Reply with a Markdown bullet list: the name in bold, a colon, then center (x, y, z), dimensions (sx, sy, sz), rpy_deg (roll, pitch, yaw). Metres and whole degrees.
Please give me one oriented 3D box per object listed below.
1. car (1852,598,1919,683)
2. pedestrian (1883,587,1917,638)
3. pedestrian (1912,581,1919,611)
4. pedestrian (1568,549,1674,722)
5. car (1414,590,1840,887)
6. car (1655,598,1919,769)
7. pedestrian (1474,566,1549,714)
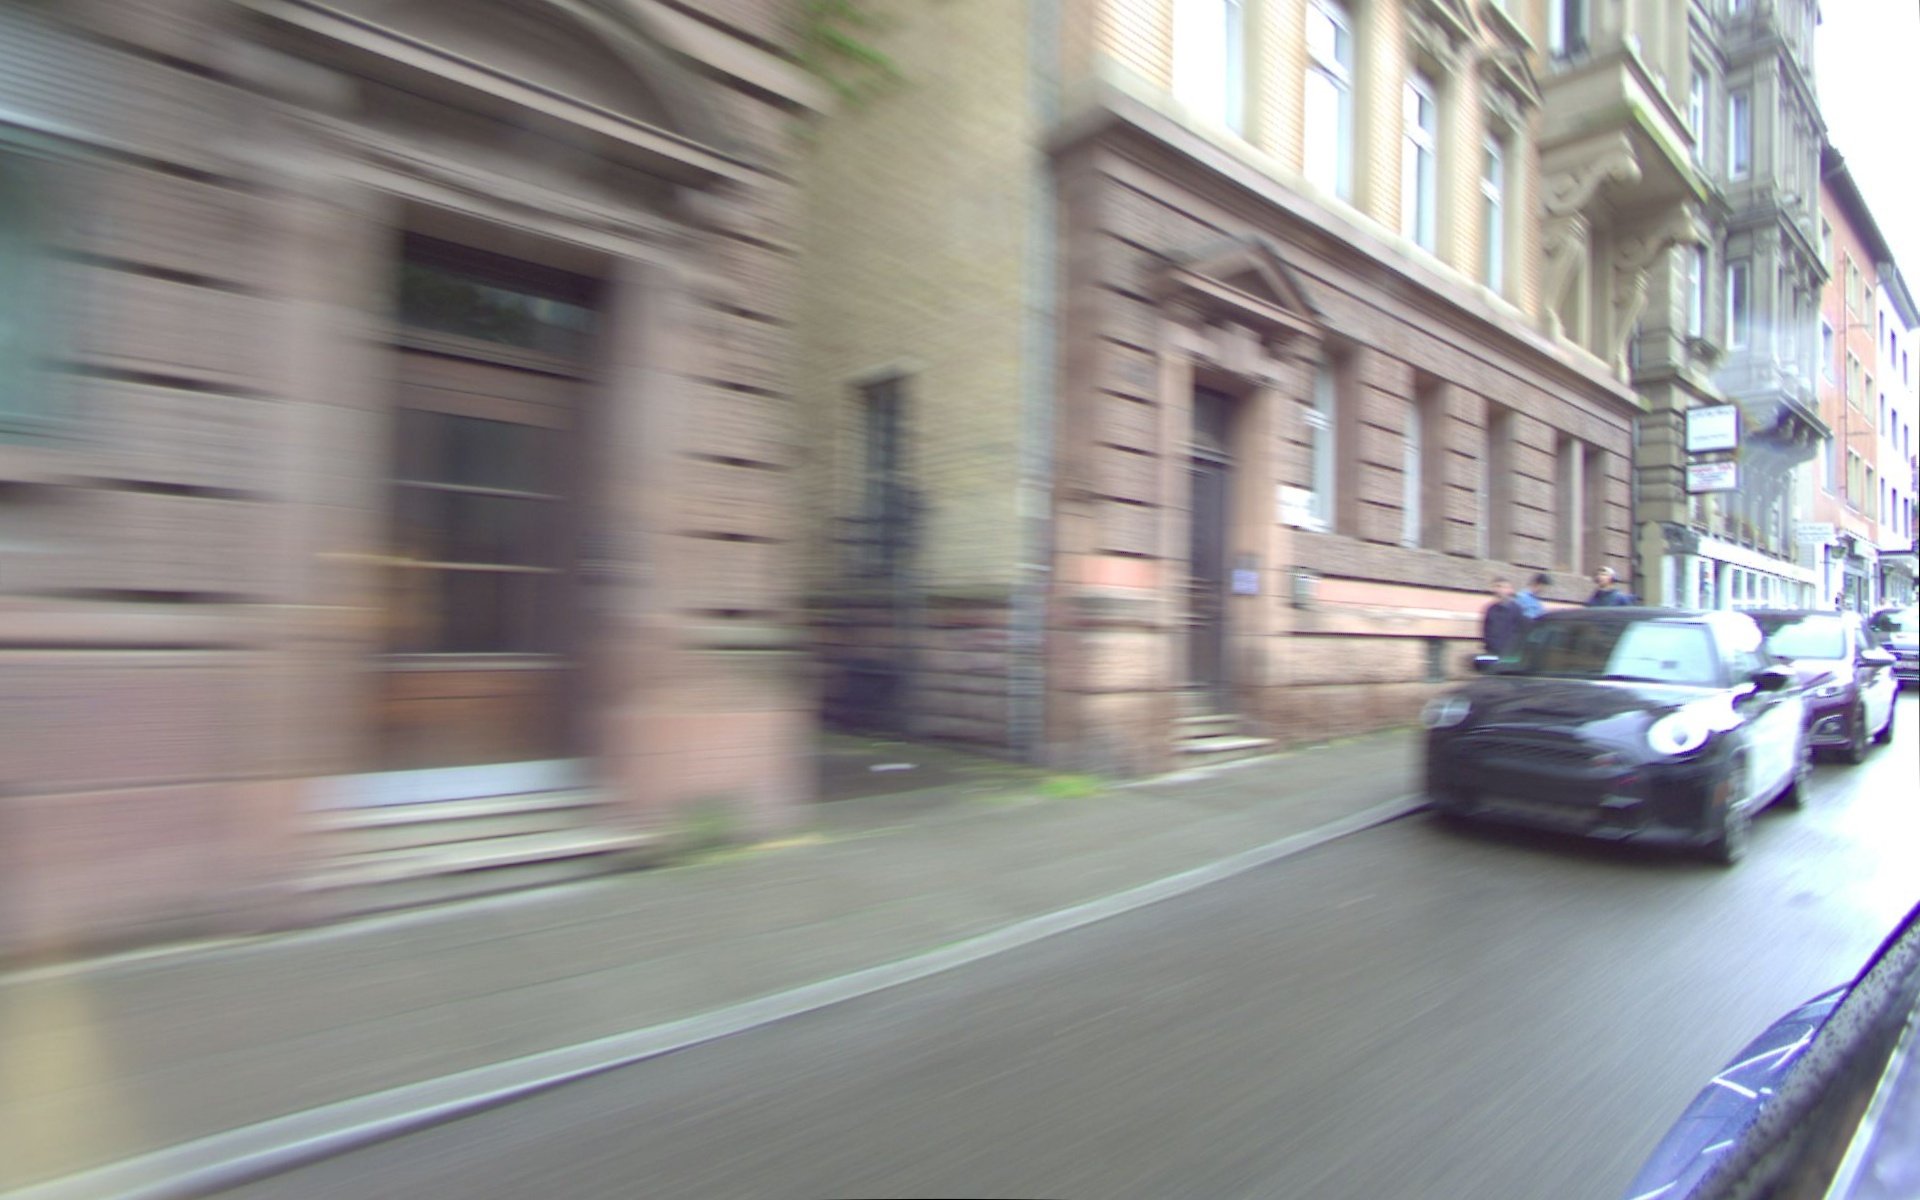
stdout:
- **car**: center (17.774, 0.738, 18.347), dimensions (4.181, 1.424, 1.795), rpy_deg (2, 0, -40)
- **pedestrian**: center (30.113, 0.407, 32.430), dimensions (0.687, 1.592, 0.752), rpy_deg (2, -1, 38)
- **pedestrian**: center (57.151, -0.233, 60.101), dimensions (0.745, 1.785, 0.807), rpy_deg (3, 3, 38)
- **pedestrian**: center (7.439, 0.379, 11.387), dimensions (0.944, 1.842, 0.704), rpy_deg (2, 1, -41)
- **car**: center (4.715, 0.678, 6.939), dimensions (3.756, 1.478, 1.579), rpy_deg (-1, 1, -42)
- **car**: center (8.858, 0.738, 10.733), dimensions (3.415, 1.478, 1.652), rpy_deg (-1, 1, -41)
- **pedestrian**: center (6.237, 0.422, 11.442), dimensions (0.666, 1.598, 0.520), rpy_deg (-2, 3, -41)
